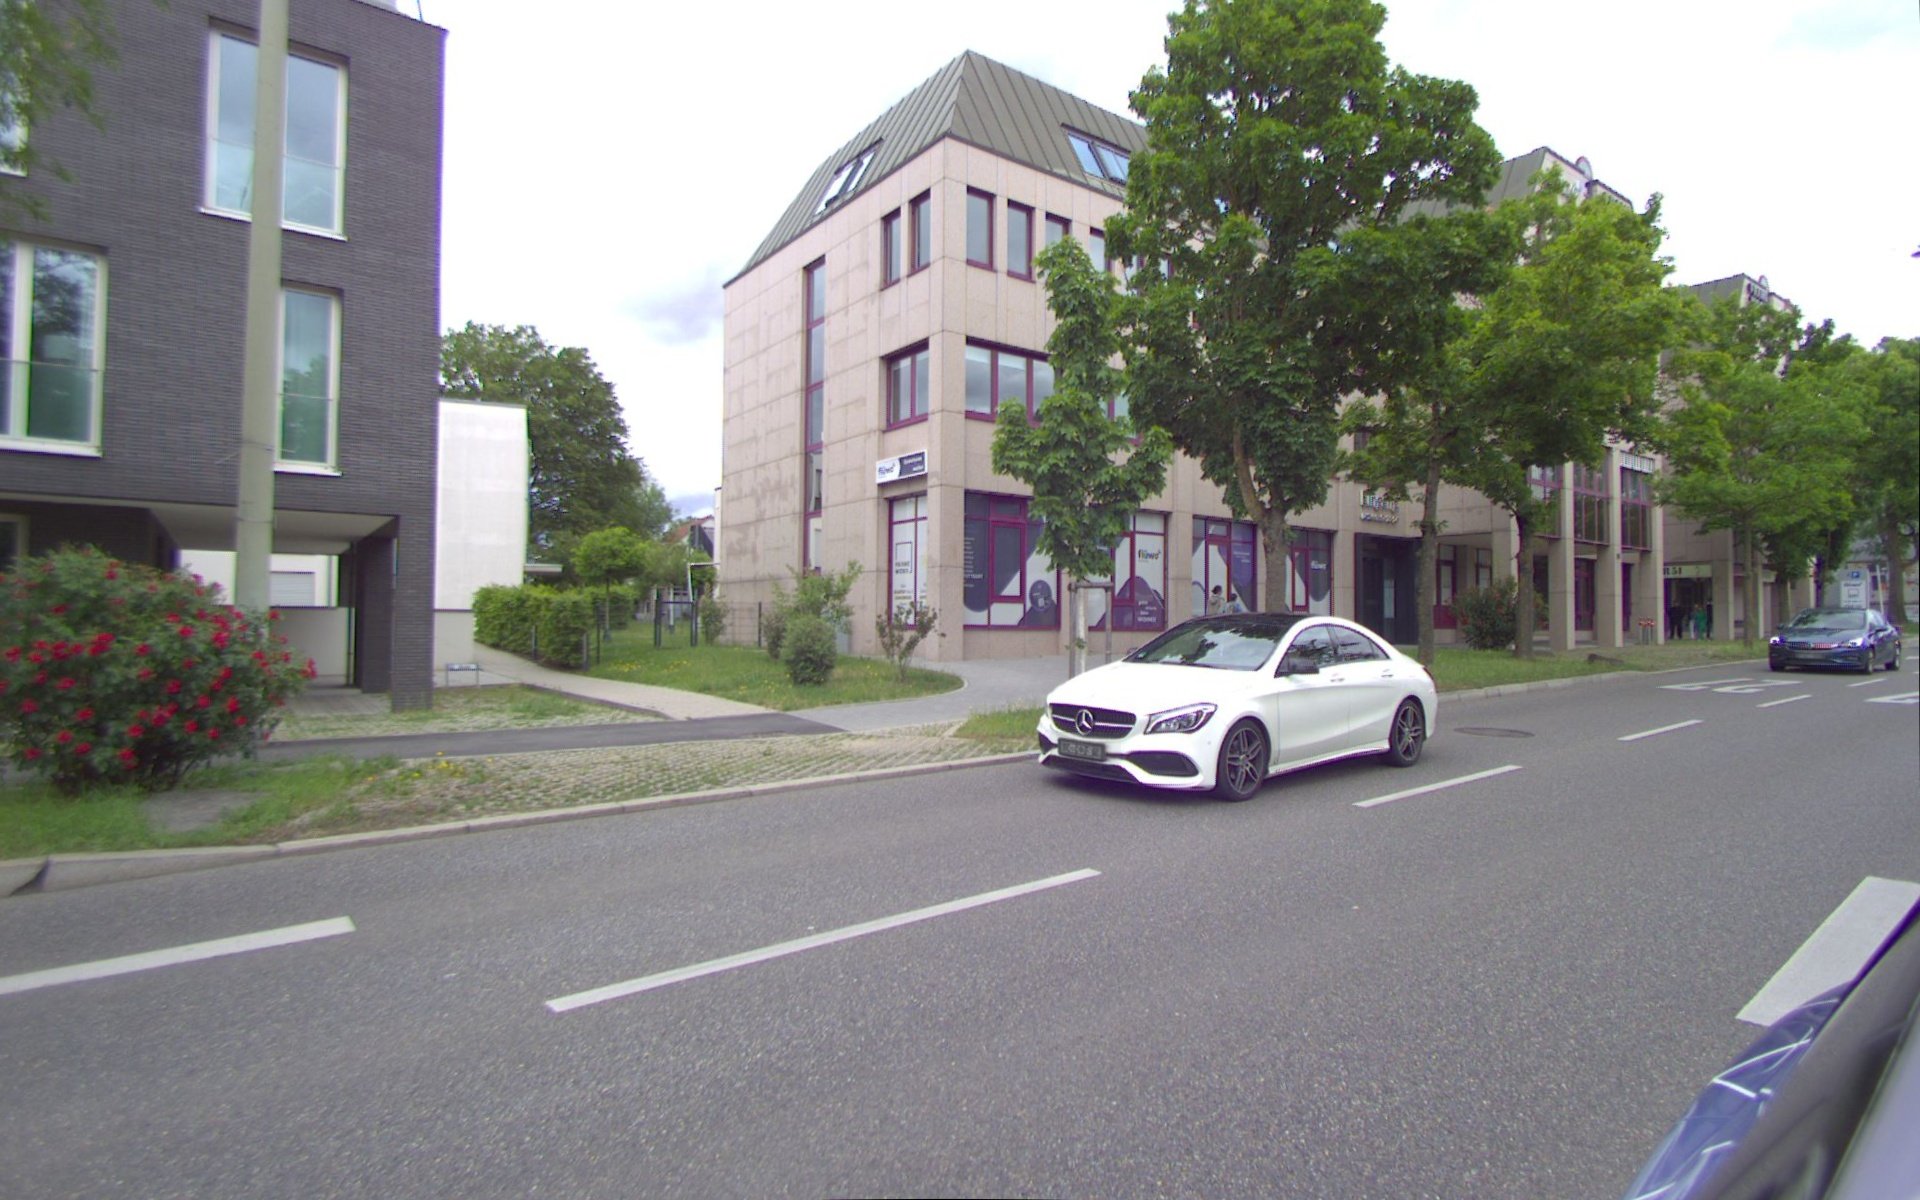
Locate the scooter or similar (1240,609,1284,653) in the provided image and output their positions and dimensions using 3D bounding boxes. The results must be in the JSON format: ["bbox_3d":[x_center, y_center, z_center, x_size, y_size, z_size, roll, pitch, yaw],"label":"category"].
[{"bbox_3d":[7.076,0.721,23.730,0.830,1.006,0.585,0,0,-35],"label":"scooter or similar"}]

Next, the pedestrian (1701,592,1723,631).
[{"bbox_3d":[30.819,0.459,41.493,0.534,1.569,0.563,0,1,-36],"label":"pedestrian"}]

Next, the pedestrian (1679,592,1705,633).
[{"bbox_3d":[31.391,0.538,43.417,0.827,1.712,0.659,0,1,-36],"label":"pedestrian"}]

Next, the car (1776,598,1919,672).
[{"bbox_3d":[20.249,0.721,23.020,4.238,1.457,1.970,0,1,-42],"label":"car"}]

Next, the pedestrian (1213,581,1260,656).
[{"bbox_3d":[6.349,0.411,23.219,0.943,1.673,0.557,0,0,-35],"label":"pedestrian"}]

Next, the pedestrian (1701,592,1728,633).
[{"bbox_3d":[31.837,0.509,42.705,0.827,1.712,0.659,0,1,-36],"label":"pedestrian"}]

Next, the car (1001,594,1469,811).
[{"bbox_3d":[2.690,0.716,9.232,4.616,1.491,1.797,0,0,-40],"label":"car"}]

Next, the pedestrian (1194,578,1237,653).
[{"bbox_3d":[6.053,0.360,23.976,0.814,1.721,0.569,0,-1,-36],"label":"pedestrian"}]
